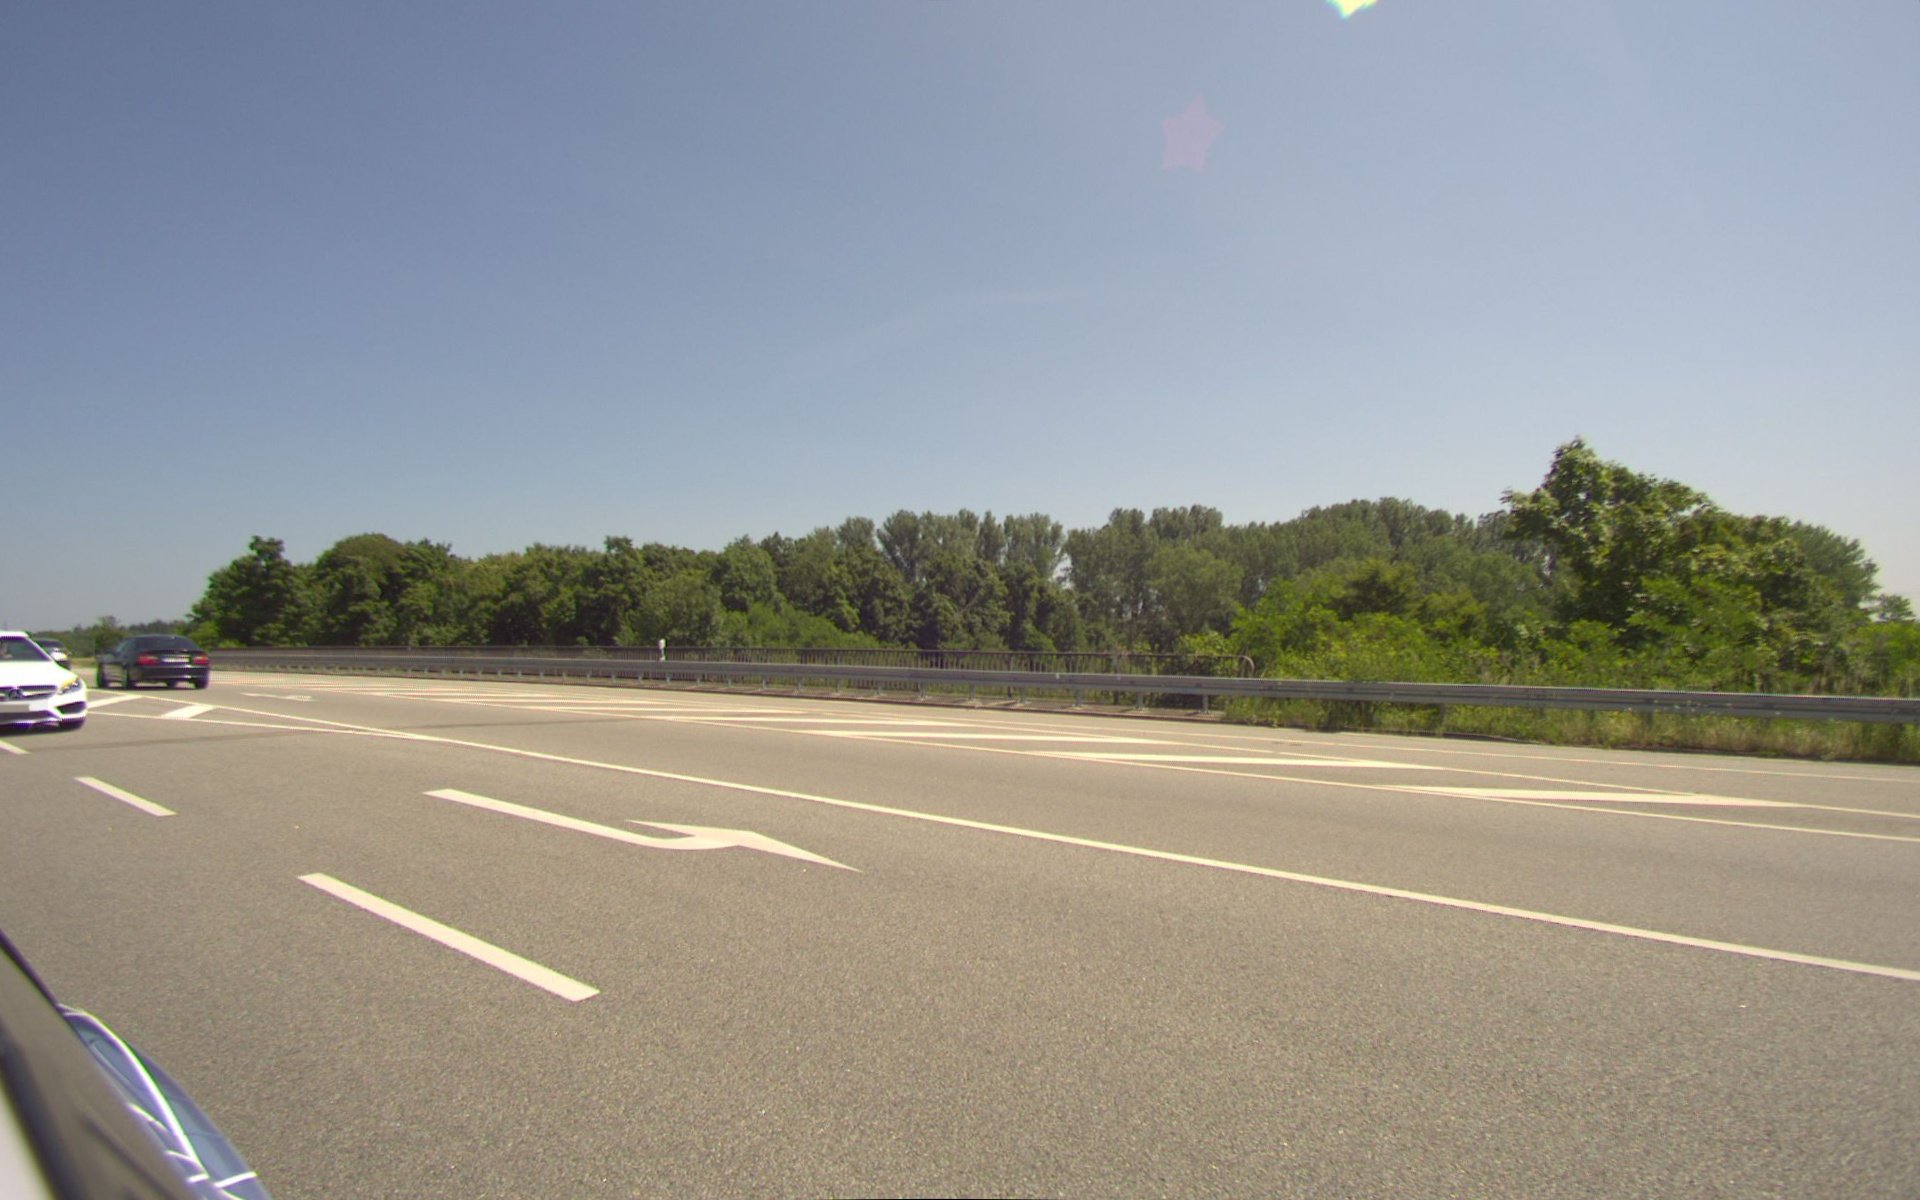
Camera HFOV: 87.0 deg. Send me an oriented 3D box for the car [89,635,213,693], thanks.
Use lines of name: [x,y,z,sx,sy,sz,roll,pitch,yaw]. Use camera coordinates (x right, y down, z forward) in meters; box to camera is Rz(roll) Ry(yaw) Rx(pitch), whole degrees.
car: [-21.439,1.666,26.749,4.377,1.412,1.717,-3,-4,40]

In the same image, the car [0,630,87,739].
car: [-14.390,1.196,14.638,4.102,1.426,1.792,-2,-2,36]

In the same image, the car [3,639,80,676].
car: [-38.636,2.416,42.525,4.790,1.464,1.706,-2,-4,40]
